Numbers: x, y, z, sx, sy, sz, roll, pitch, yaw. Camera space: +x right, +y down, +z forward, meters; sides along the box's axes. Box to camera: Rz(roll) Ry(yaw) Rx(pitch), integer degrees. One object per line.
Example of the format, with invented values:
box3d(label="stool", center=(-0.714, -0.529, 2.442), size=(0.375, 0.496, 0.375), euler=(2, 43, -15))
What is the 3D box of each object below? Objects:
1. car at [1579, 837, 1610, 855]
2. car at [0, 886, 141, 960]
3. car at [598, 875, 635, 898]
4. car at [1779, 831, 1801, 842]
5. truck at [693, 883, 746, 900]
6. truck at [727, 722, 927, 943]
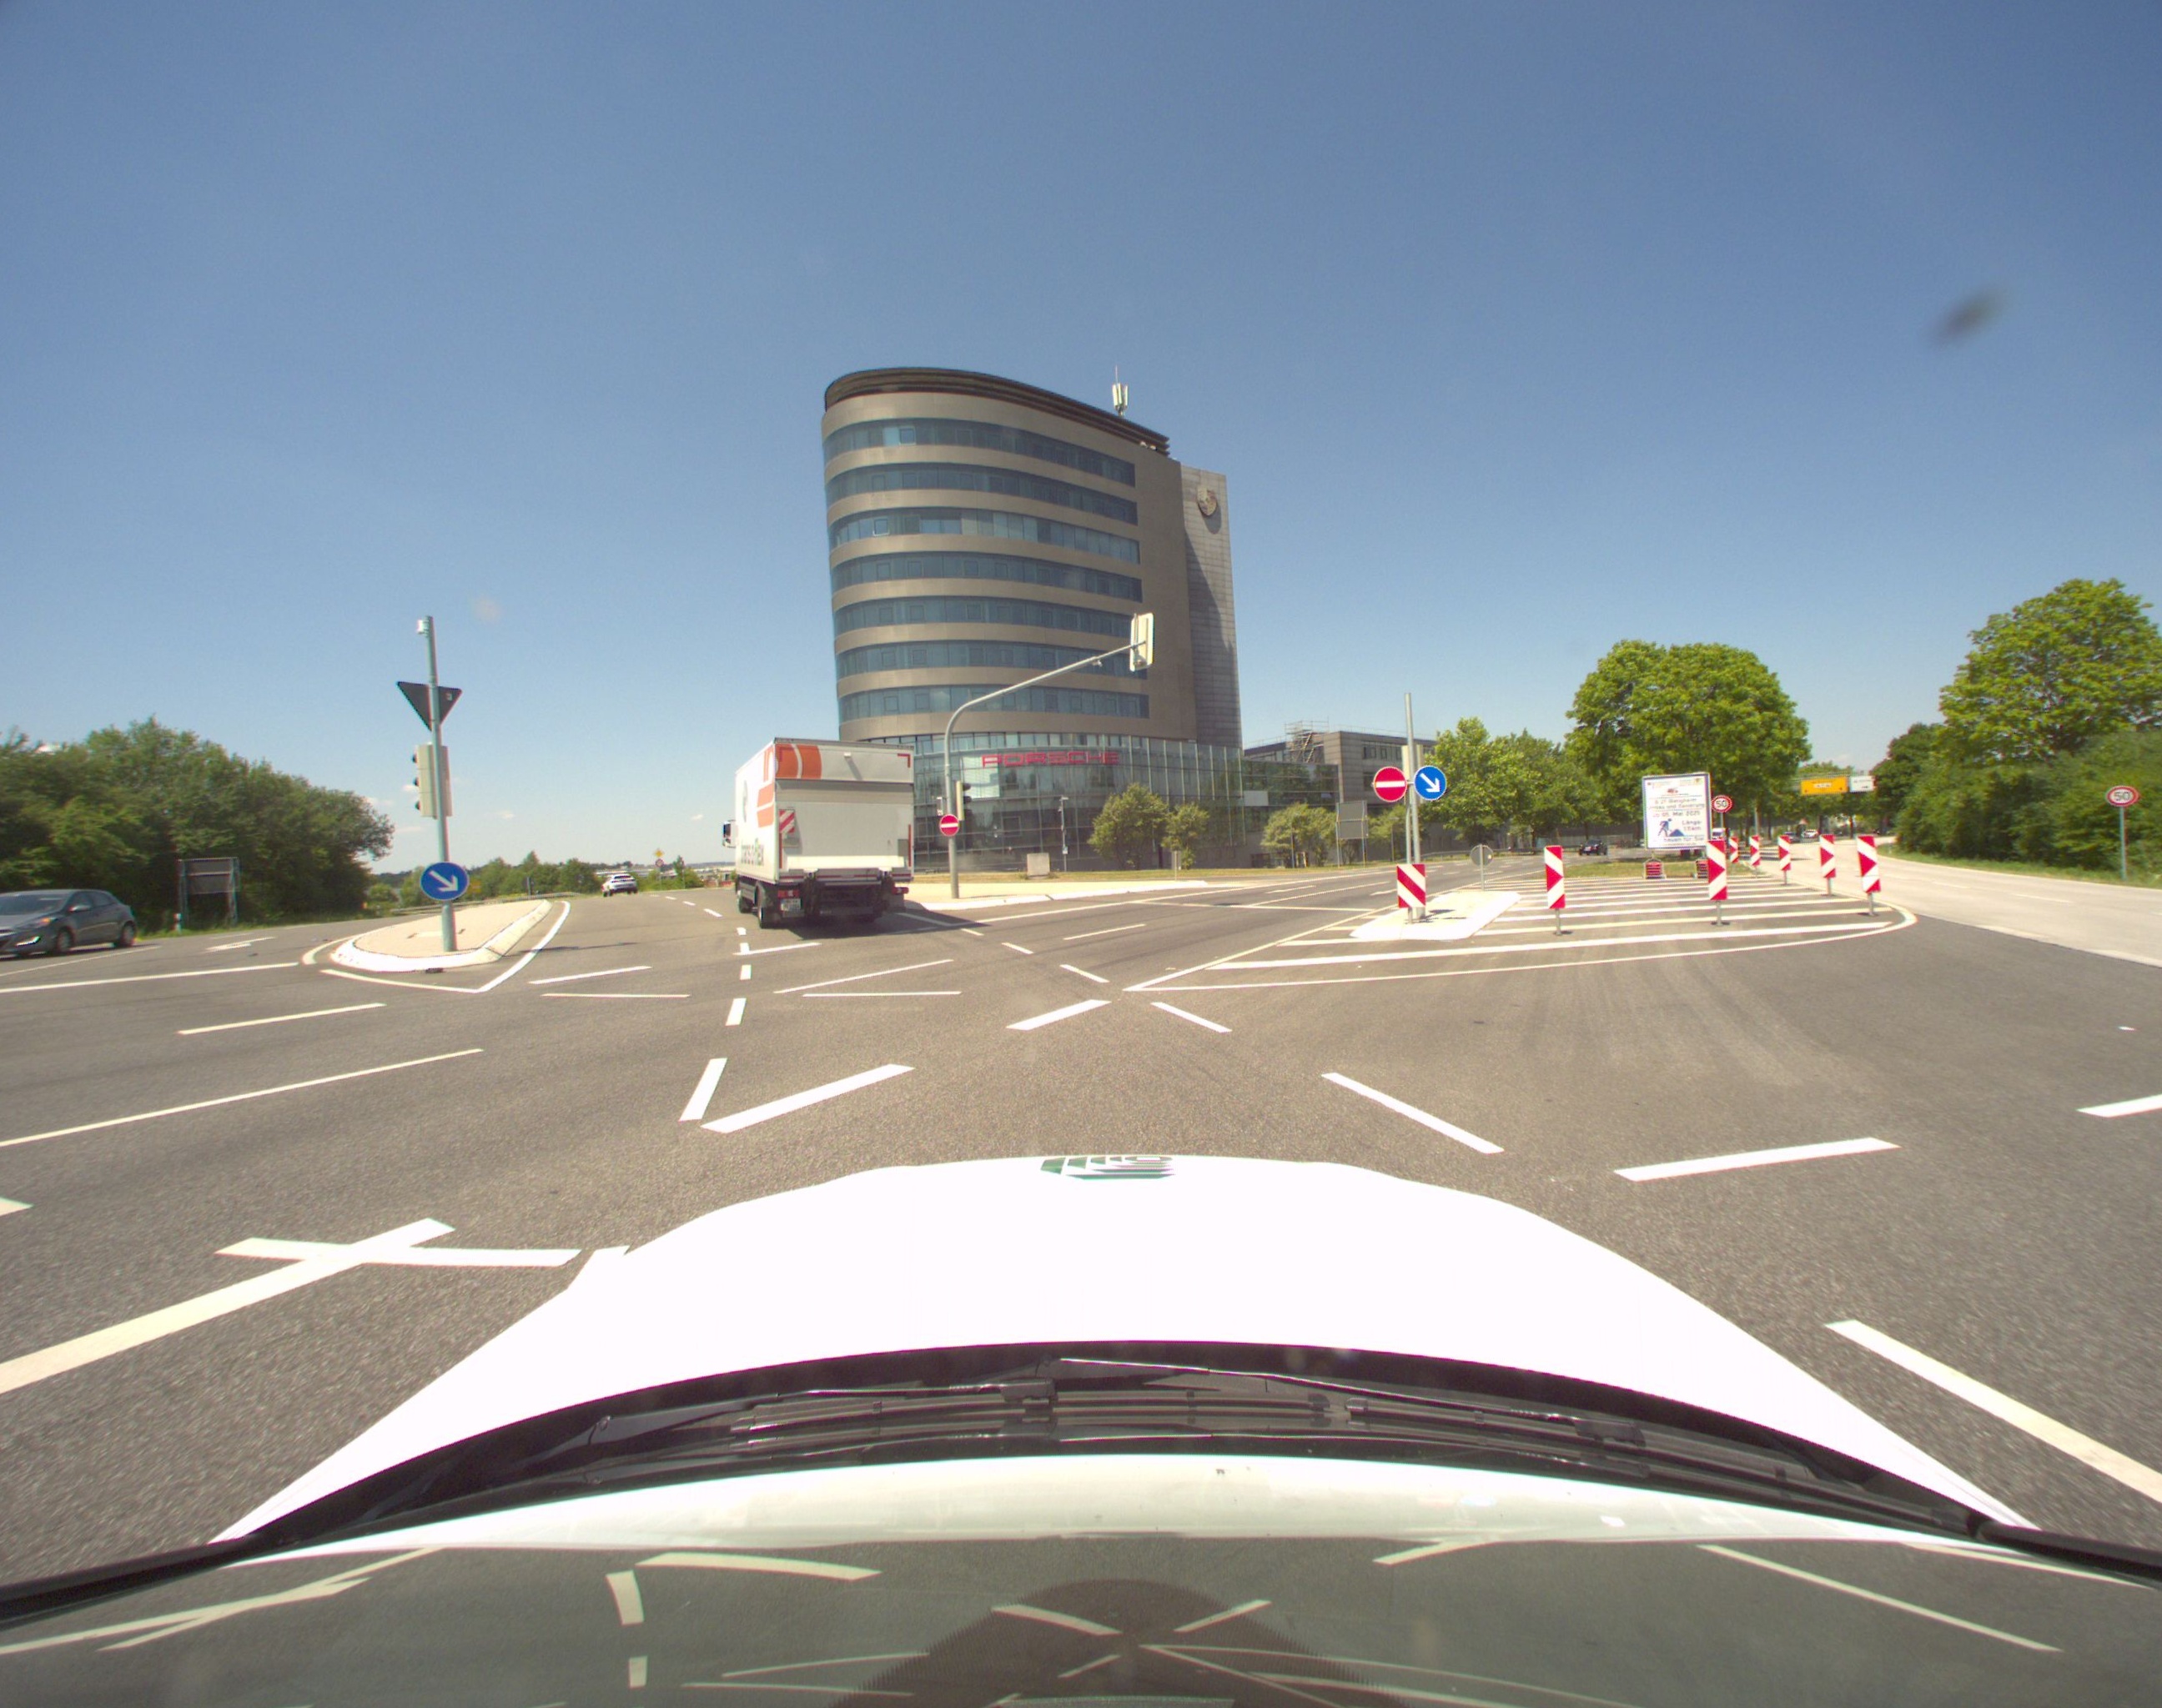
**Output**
box3d(label="car", center=(50.086, -0.797, 79.377), size=(4.023, 1.589, 1.646), euler=(-1, 0, -44))
box3d(label="car", center=(-23.030, 1.510, 18.053), size=(1.704, 1.456, 4.284), euler=(-3, -1, -33))
box3d(label="car", center=(-33.741, 2.338, 59.079), size=(1.817, 1.557, 3.955), euler=(-1, 0, -37))
box3d(label="car", center=(110.158, -2.739, 126.464), size=(4.018, 1.662, 1.718), euler=(-1, 0, -37))
box3d(label="truck", center=(-80.471, 8.326, 181.537), size=(10.360, 3.219, 2.449), euler=(-1, 0, -9))
box3d(label="truck", center=(-6.356, -0.372, 19.007), size=(2.785, 3.859, 9.286), euler=(-1, 0, -27))
